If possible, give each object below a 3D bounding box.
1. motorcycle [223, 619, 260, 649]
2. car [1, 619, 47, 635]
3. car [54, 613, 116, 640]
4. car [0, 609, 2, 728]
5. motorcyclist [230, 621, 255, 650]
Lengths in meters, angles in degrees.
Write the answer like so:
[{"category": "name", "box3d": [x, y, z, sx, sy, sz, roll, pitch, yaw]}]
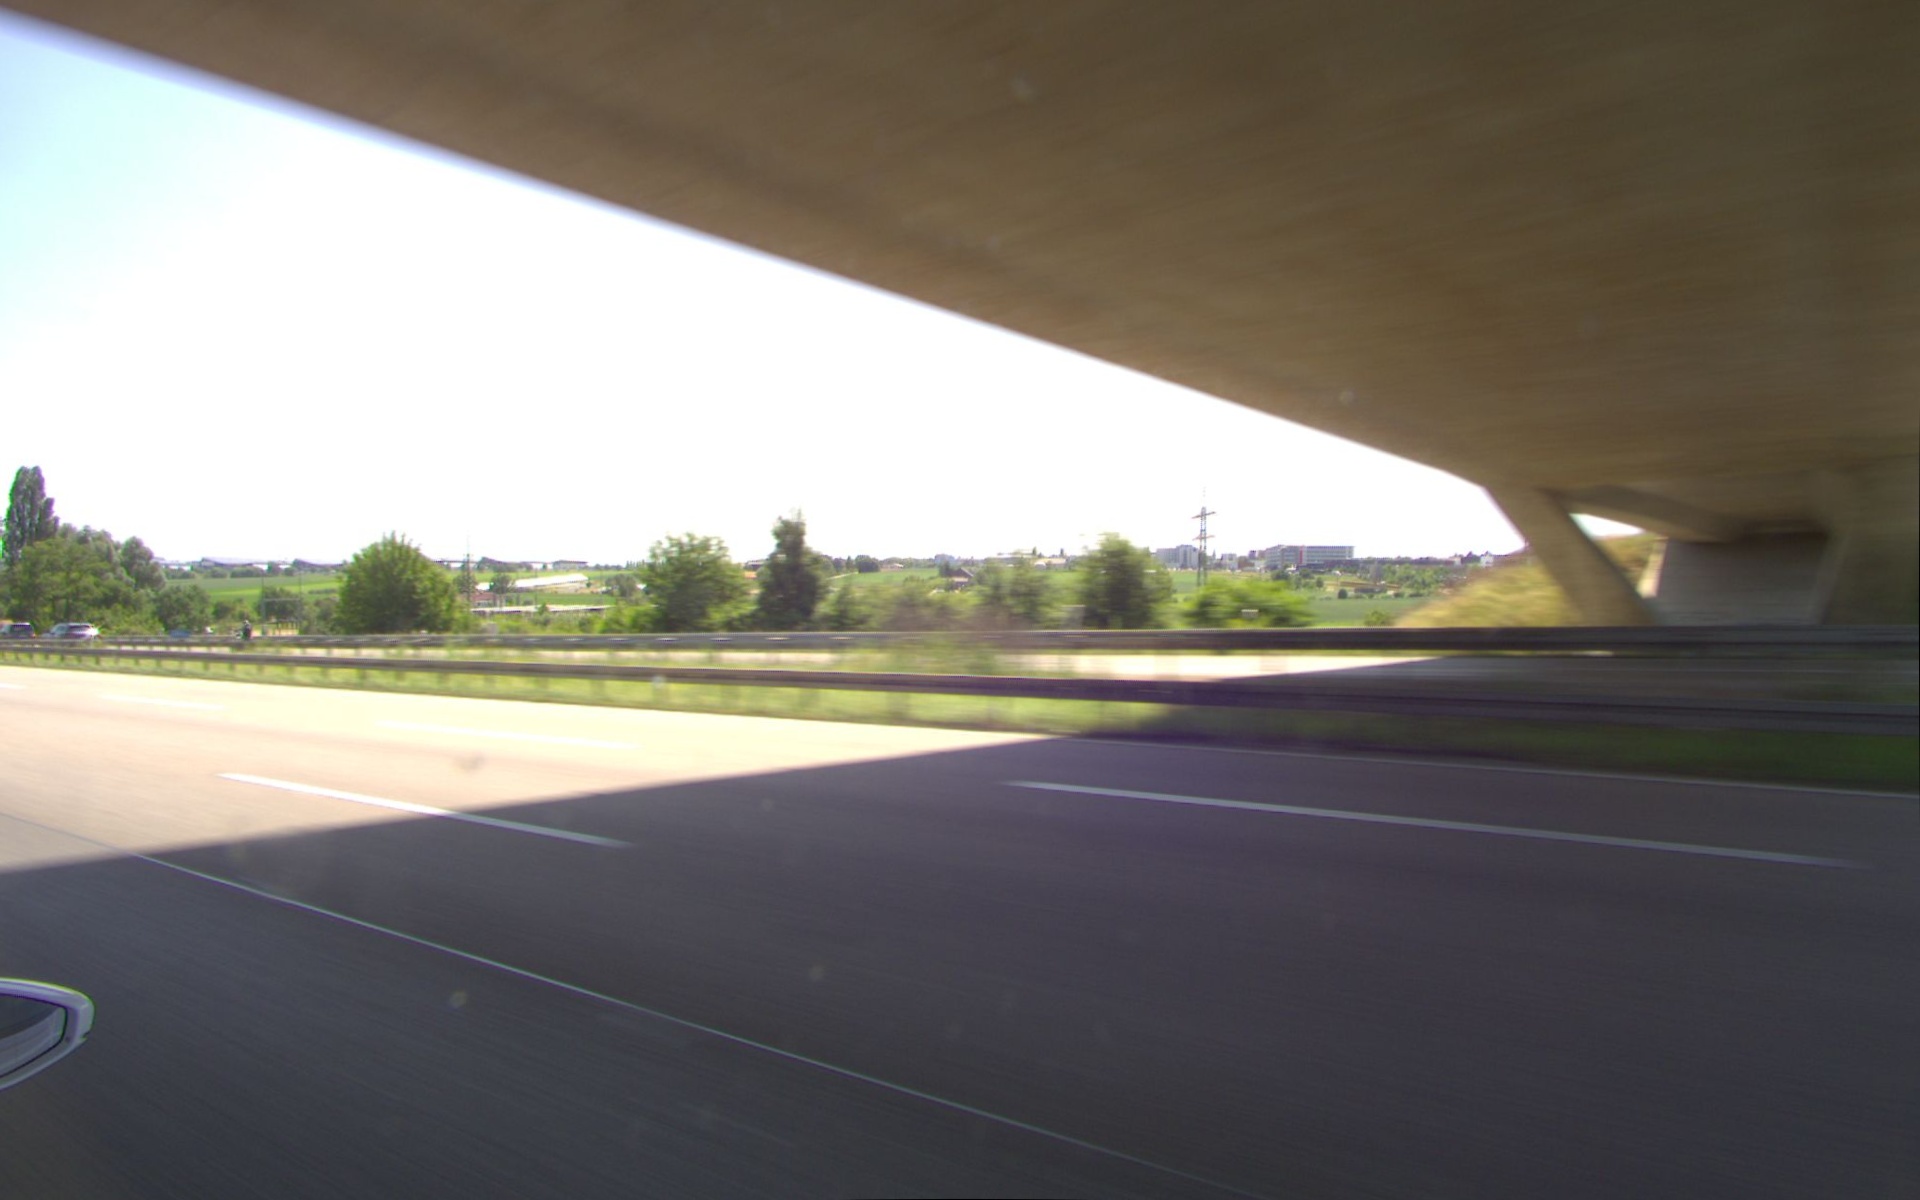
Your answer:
[{"category": "motorcycle", "box3d": [-34.250, 1.615, 47.731, 1.843, 1.384, 0.759, -1, -1, 32]}, {"category": "car", "box3d": [-75.930, 2.200, 81.232, 3.941, 1.293, 1.698, -1, -2, 31]}, {"category": "car", "box3d": [-52.716, 1.598, 60.295, 4.068, 1.595, 1.697, -1, -2, 32]}, {"category": "car", "box3d": [-13.707, 0.941, 12.136, 4.927, 1.668, 1.895, -1, -2, 32]}, {"category": "motorcyclist", "box3d": [-34.195, 1.680, 47.710, 0.866, 1.384, 0.667, 0, -1, 31]}]
